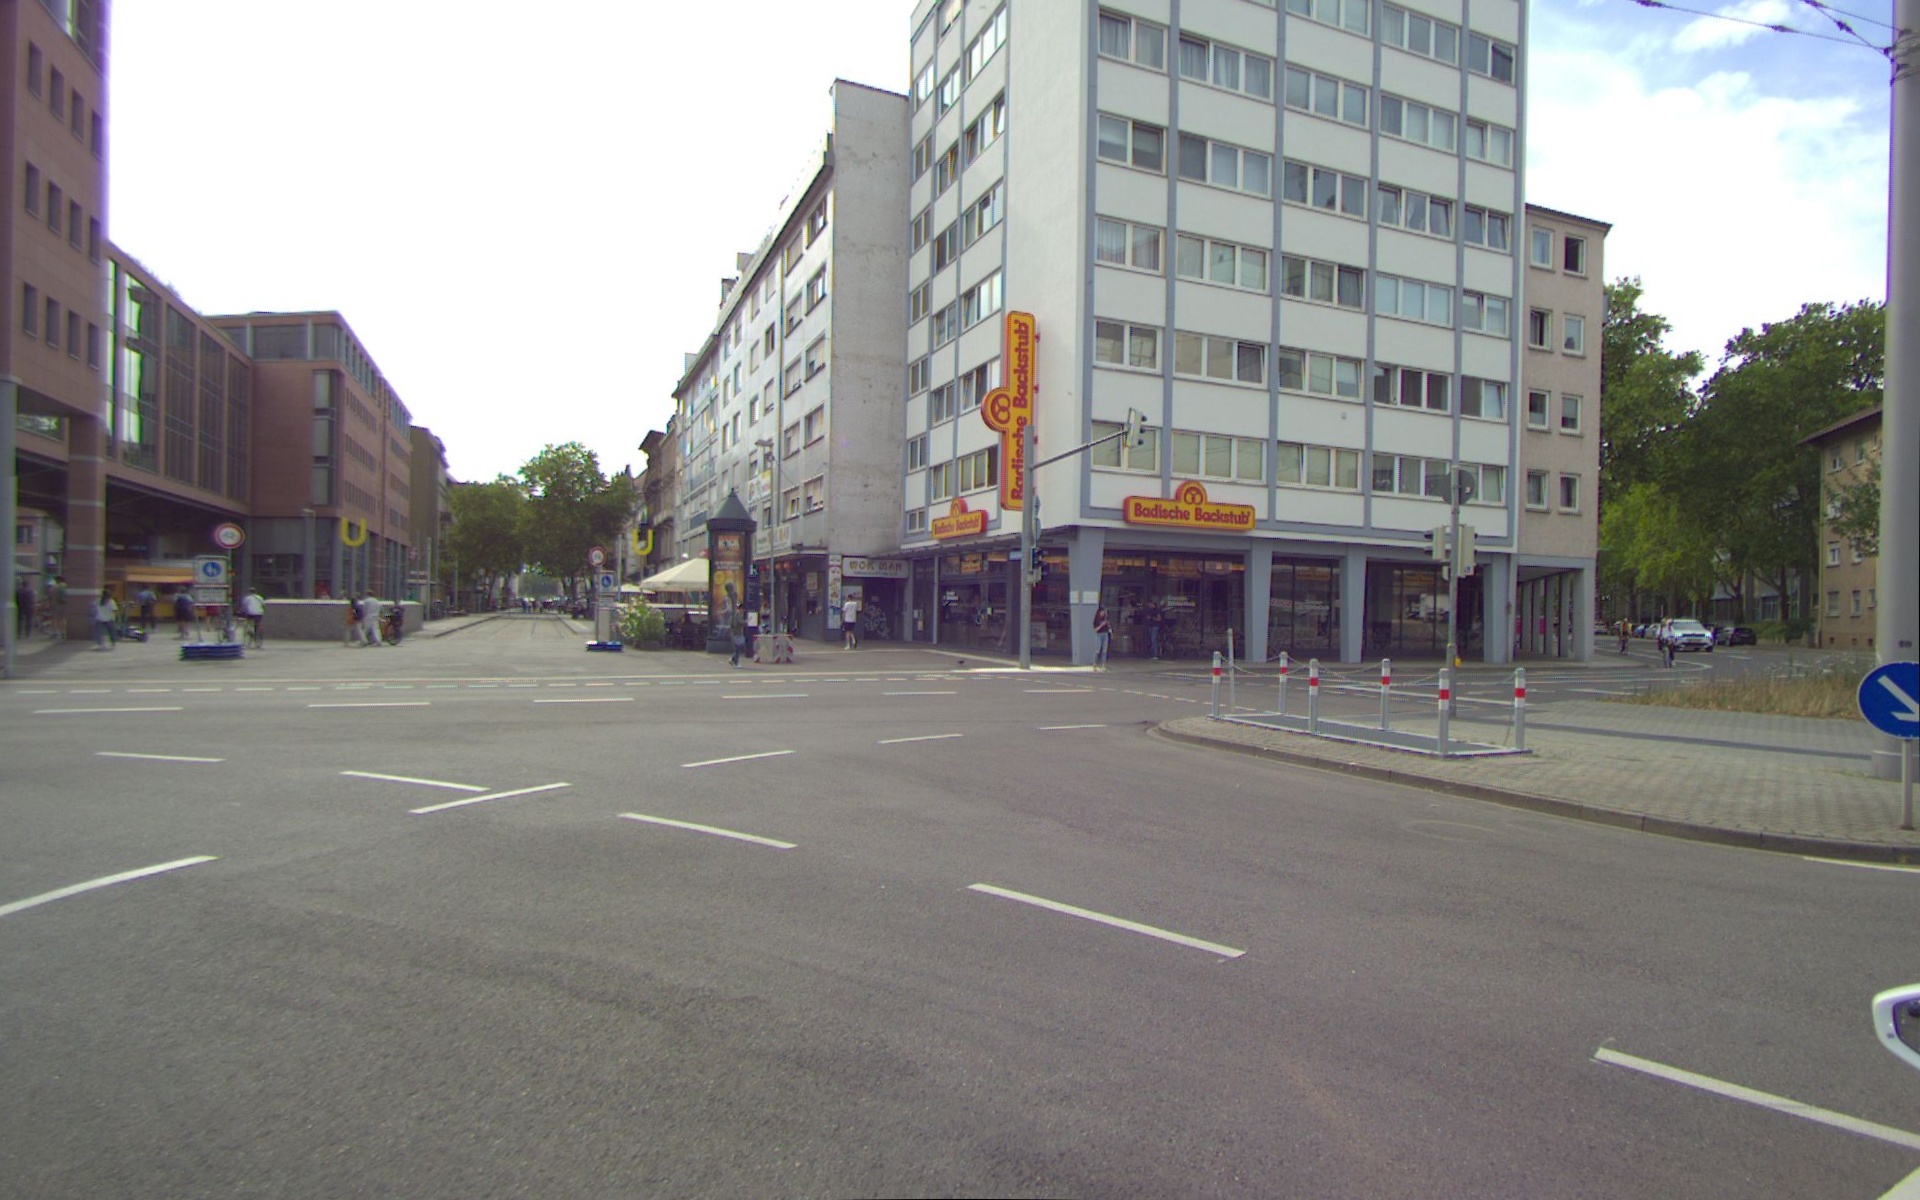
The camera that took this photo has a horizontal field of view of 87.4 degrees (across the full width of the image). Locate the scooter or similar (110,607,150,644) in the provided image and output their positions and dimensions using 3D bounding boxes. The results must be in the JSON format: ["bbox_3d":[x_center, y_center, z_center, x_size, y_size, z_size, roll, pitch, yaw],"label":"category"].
[{"bbox_3d":[-26.672,0.815,32.288,1.268,1.184,0.383,1,0,20],"label":"scooter or similar"}]

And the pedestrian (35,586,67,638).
[{"bbox_3d":[-31.624,0.403,34.947,0.489,1.785,0.685,1,0,20],"label":"pedestrian"}]

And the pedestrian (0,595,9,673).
[{"bbox_3d":[-18.662,0.653,19.017,0.674,1.492,0.795,1,0,-22],"label":"pedestrian"}]

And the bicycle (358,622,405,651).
[{"bbox_3d":[-19.415,1.215,33.704,1.755,0.900,0.472,1,0,27],"label":"bicycle"}]

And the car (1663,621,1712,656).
[{"bbox_3d":[38.481,1.991,53.208,1.806,1.682,4.314,0,0,32],"label":"car"}]

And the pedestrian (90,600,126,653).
[{"bbox_3d":[-24.010,0.743,28.318,0.572,1.492,0.652,1,0,-22],"label":"pedestrian"}]

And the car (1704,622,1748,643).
[{"bbox_3d":[57.208,2.391,75.094,1.631,1.441,3.865,1,0,22],"label":"car"}]

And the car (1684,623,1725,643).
[{"bbox_3d":[59.052,2.559,79.713,1.631,1.441,3.945,1,0,22],"label":"car"}]

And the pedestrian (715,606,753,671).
[{"bbox_3d":[-5.757,0.967,25.601,0.647,1.615,0.688,0,0,24],"label":"pedestrian"}]

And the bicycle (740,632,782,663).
[{"bbox_3d":[-6.871,1.614,34.569,1.763,1.002,0.470,0,0,43],"label":"bicycle"}]

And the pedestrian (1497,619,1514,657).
[{"bbox_3d":[26.232,1.813,48.294,0.572,1.780,0.784,3,0,22],"label":"pedestrian"}]

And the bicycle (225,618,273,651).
[{"bbox_3d":[-22.643,1.075,31.991,1.755,1.002,0.472,1,0,27],"label":"bicycle"}]

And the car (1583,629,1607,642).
[{"bbox_3d":[76.348,4.256,120.799,1.648,1.412,4.460,1,-1,21],"label":"car"}]

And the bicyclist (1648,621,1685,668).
[{"bbox_3d":[25.619,1.610,36.420,1.022,1.668,0.607,1,0,-20],"label":"bicyclist"}]

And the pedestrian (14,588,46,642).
[{"bbox_3d":[-29.059,0.470,31.383,0.572,1.685,0.518,1,0,-22],"label":"pedestrian"}]

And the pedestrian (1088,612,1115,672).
[{"bbox_3d":[3.774,1.126,26.838,0.512,1.580,0.496,1,0,-30],"label":"pedestrian"}]

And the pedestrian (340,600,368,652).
[{"bbox_3d":[-19.738,0.843,32.718,0.459,1.663,0.632,1,0,28],"label":"pedestrian"}]

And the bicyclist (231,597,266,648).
[{"bbox_3d":[-22.615,0.698,31.931,0.867,1.590,0.546,1,0,27],"label":"bicyclist"}]

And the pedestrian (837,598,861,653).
[{"bbox_3d":[-3.859,0.870,34.945,0.573,1.883,0.860,1,0,-24],"label":"pedestrian"}]

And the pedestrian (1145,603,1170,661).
[{"bbox_3d":[6.156,0.978,31.302,0.581,1.789,0.475,0,0,-23],"label":"pedestrian"}]

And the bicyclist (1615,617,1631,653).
[{"bbox_3d":[32.685,1.726,49.527,0.529,1.766,0.757,1,0,22],"label":"bicyclist"}]

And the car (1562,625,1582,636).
[{"bbox_3d":[82.319,4.063,135.115,1.614,1.432,3.416,1,0,19],"label":"car"}]

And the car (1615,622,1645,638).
[{"bbox_3d":[68.358,3.044,102.538,1.603,1.489,4.317,1,-1,21],"label":"car"}]

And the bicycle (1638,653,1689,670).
[{"bbox_3d":[25.507,2.224,36.430,1.968,0.596,0.483,1,0,-20],"label":"bicycle"}]

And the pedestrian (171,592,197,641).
[{"bbox_3d":[-27.285,0.574,35.327,0.572,1.685,0.518,1,0,-22],"label":"pedestrian"}]

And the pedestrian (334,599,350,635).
[{"bbox_3d":[-29.085,0.786,47.274,0.572,1.685,0.518,1,0,-22],"label":"pedestrian"}]

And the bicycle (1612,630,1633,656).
[{"bbox_3d":[32.685,2.124,49.575,0.503,1.241,1.563,1,-1,21],"label":"bicycle"}]

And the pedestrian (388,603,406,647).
[{"bbox_3d":[-20.553,0.904,36.677,0.513,1.598,0.505,1,0,-21],"label":"pedestrian"}]

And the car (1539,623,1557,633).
[{"bbox_3d":[87.394,4.121,149.371,1.648,1.412,3.878,1,-1,21],"label":"car"}]

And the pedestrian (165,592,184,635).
[{"bbox_3d":[-30.979,0.545,39.631,0.457,1.685,0.518,1,0,-22],"label":"pedestrian"}]

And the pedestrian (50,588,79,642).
[{"bbox_3d":[-28.356,0.482,31.814,0.512,1.685,0.579,1,0,34],"label":"pedestrian"}]

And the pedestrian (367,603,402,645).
[{"bbox_3d":[-19.261,0.792,33.623,0.848,1.393,0.632,1,0,26],"label":"pedestrian"}]
